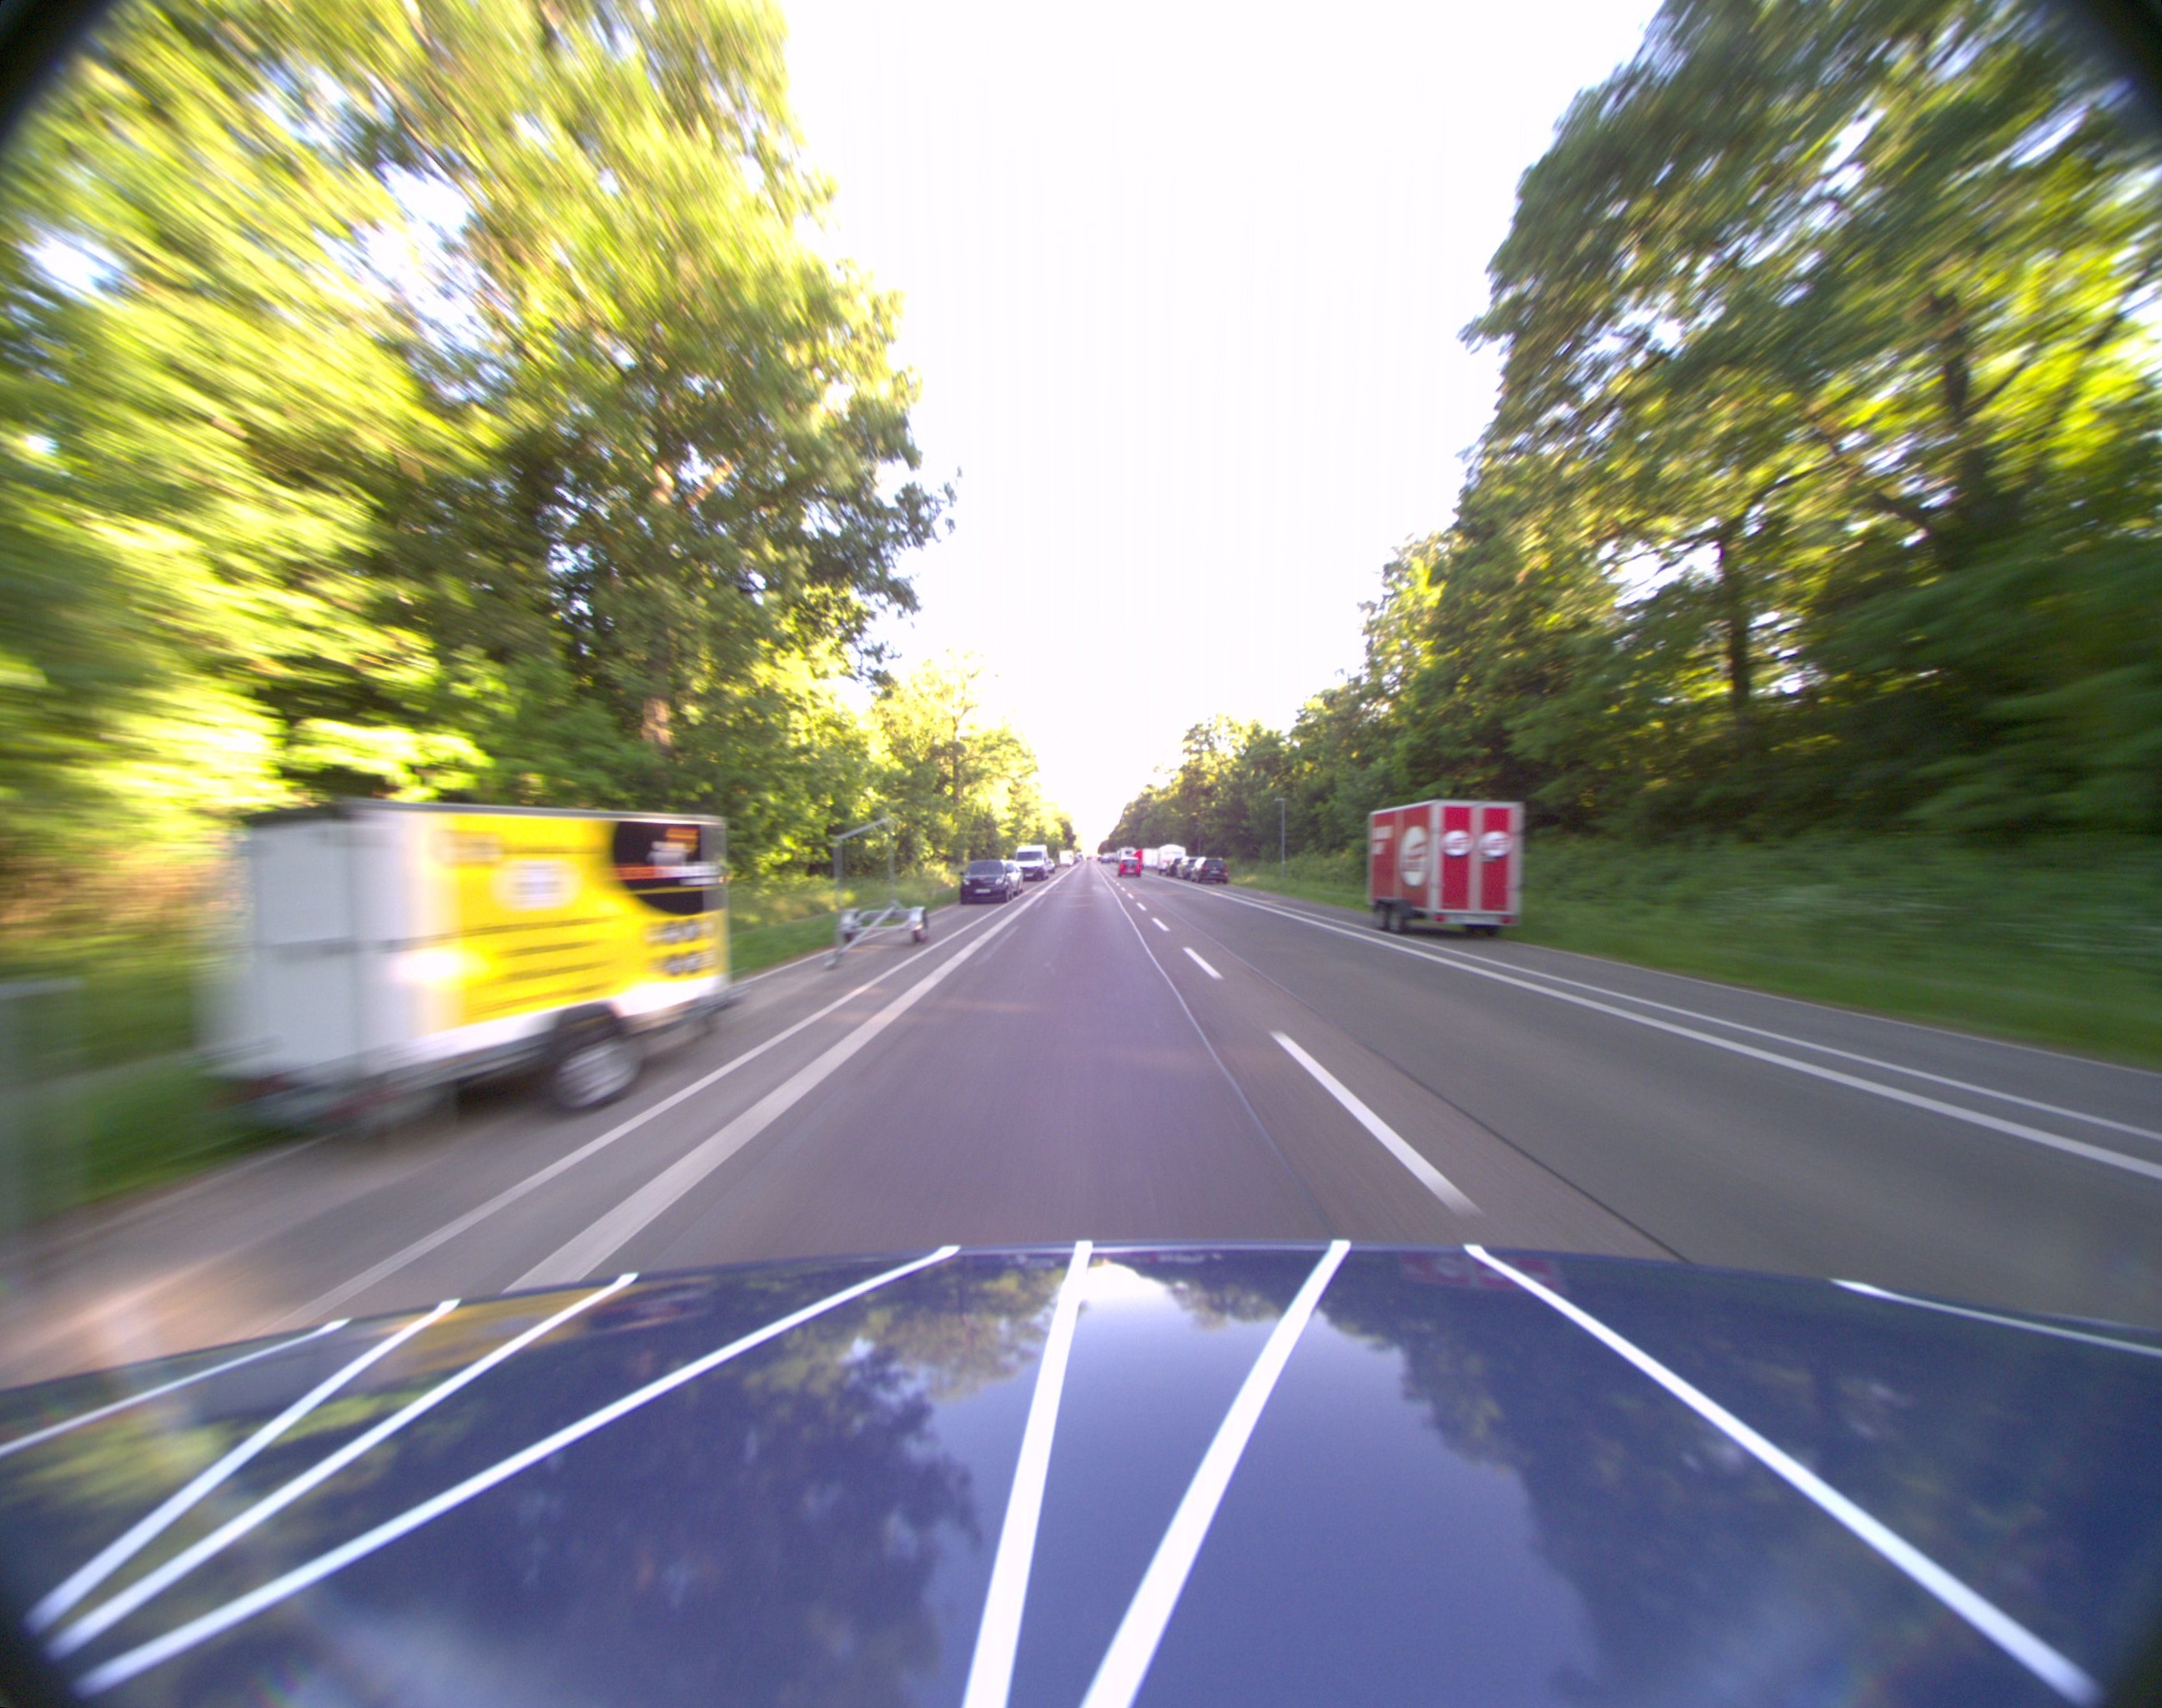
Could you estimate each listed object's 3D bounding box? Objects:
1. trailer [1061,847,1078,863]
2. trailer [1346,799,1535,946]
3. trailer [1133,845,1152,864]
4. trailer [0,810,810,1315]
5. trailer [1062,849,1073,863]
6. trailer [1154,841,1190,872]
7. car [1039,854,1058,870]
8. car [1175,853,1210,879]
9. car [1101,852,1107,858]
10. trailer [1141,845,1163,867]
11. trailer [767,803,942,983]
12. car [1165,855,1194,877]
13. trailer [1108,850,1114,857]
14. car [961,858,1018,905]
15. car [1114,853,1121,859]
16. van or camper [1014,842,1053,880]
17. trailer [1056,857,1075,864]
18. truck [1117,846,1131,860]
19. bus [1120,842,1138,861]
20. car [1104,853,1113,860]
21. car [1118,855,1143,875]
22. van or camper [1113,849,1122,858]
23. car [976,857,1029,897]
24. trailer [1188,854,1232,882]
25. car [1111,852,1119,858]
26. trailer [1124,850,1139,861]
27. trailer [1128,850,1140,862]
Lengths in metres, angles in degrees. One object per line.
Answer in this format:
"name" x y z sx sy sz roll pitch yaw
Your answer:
"trailer" -2.051 0.143 144.068 2.928 2.825 9.881 -4 1 0
"trailer" 7.146 0.321 15.632 1.998 2.606 4.085 -1 0 1
"trailer" 8.161 0.090 101.170 2.072 2.466 3.560 0 0 -3
"trailer" -3.977 0.836 5.159 1.964 2.011 3.849 -1 0 21
"trailer" -2.137 0.329 122.205 1.759 2.149 3.539 -1 0 0
"trailer" 7.594 0.194 64.055 2.352 2.514 4.343 0 0 -3
"car" -3.241 0.811 76.252 1.839 1.412 4.596 -4 0 -2
"car" 7.486 0.767 51.513 1.675 1.565 5.126 2 1 1
"car" 6.995 0.271 234.830 1.823 1.577 4.459 0 1 1
"trailer" 8.072 0.242 86.454 2.072 2.466 3.560 0 0 -3
"trailer" -3.576 0.536 12.759 1.617 2.494 3.999 -2 1 1
"car" 7.467 0.856 57.786 1.675 1.486 4.194 2 1 1
"trailer" 9.943 -0.194 252.980 1.998 2.227 4.000 -2 1 1
"car" -3.219 0.938 27.341 1.590 1.521 3.011 -2 0 1
"car" 9.399 0.402 195.992 1.787 1.485 4.001 0 0 5
"van or camper" -3.204 0.424 52.691 2.131 2.468 6.305 -1 0 2
"trailer" -2.203 0.846 107.592 2.439 0.794 5.659 -2 1 1
"truck" 8.982 -0.214 159.748 2.489 2.807 8.424 -1 0 1
"bus" 9.391 -0.545 148.473 2.835 3.411 11.199 -2 1 1
"car" 5.701 0.474 158.386 1.824 1.524 4.530 0 1 1
"car" 3.660 0.798 56.651 1.608 1.412 3.518 1 0 1
"van or camper" 9.873 -0.149 208.204 2.253 2.599 5.984 -1 0 1
"car" -3.264 0.918 32.366 1.739 1.479 4.400 -3 0 0
"trailer" 7.522 0.783 44.655 1.845 1.457 4.466 -1 0 1
"car" 9.840 0.220 219.016 1.998 1.797 4.144 -1 0 1
"trailer" 9.210 0.264 139.716 2.434 1.903 6.264 -1 0 1
"trailer" 8.806 0.300 126.185 1.857 2.002 3.561 2 0 1
